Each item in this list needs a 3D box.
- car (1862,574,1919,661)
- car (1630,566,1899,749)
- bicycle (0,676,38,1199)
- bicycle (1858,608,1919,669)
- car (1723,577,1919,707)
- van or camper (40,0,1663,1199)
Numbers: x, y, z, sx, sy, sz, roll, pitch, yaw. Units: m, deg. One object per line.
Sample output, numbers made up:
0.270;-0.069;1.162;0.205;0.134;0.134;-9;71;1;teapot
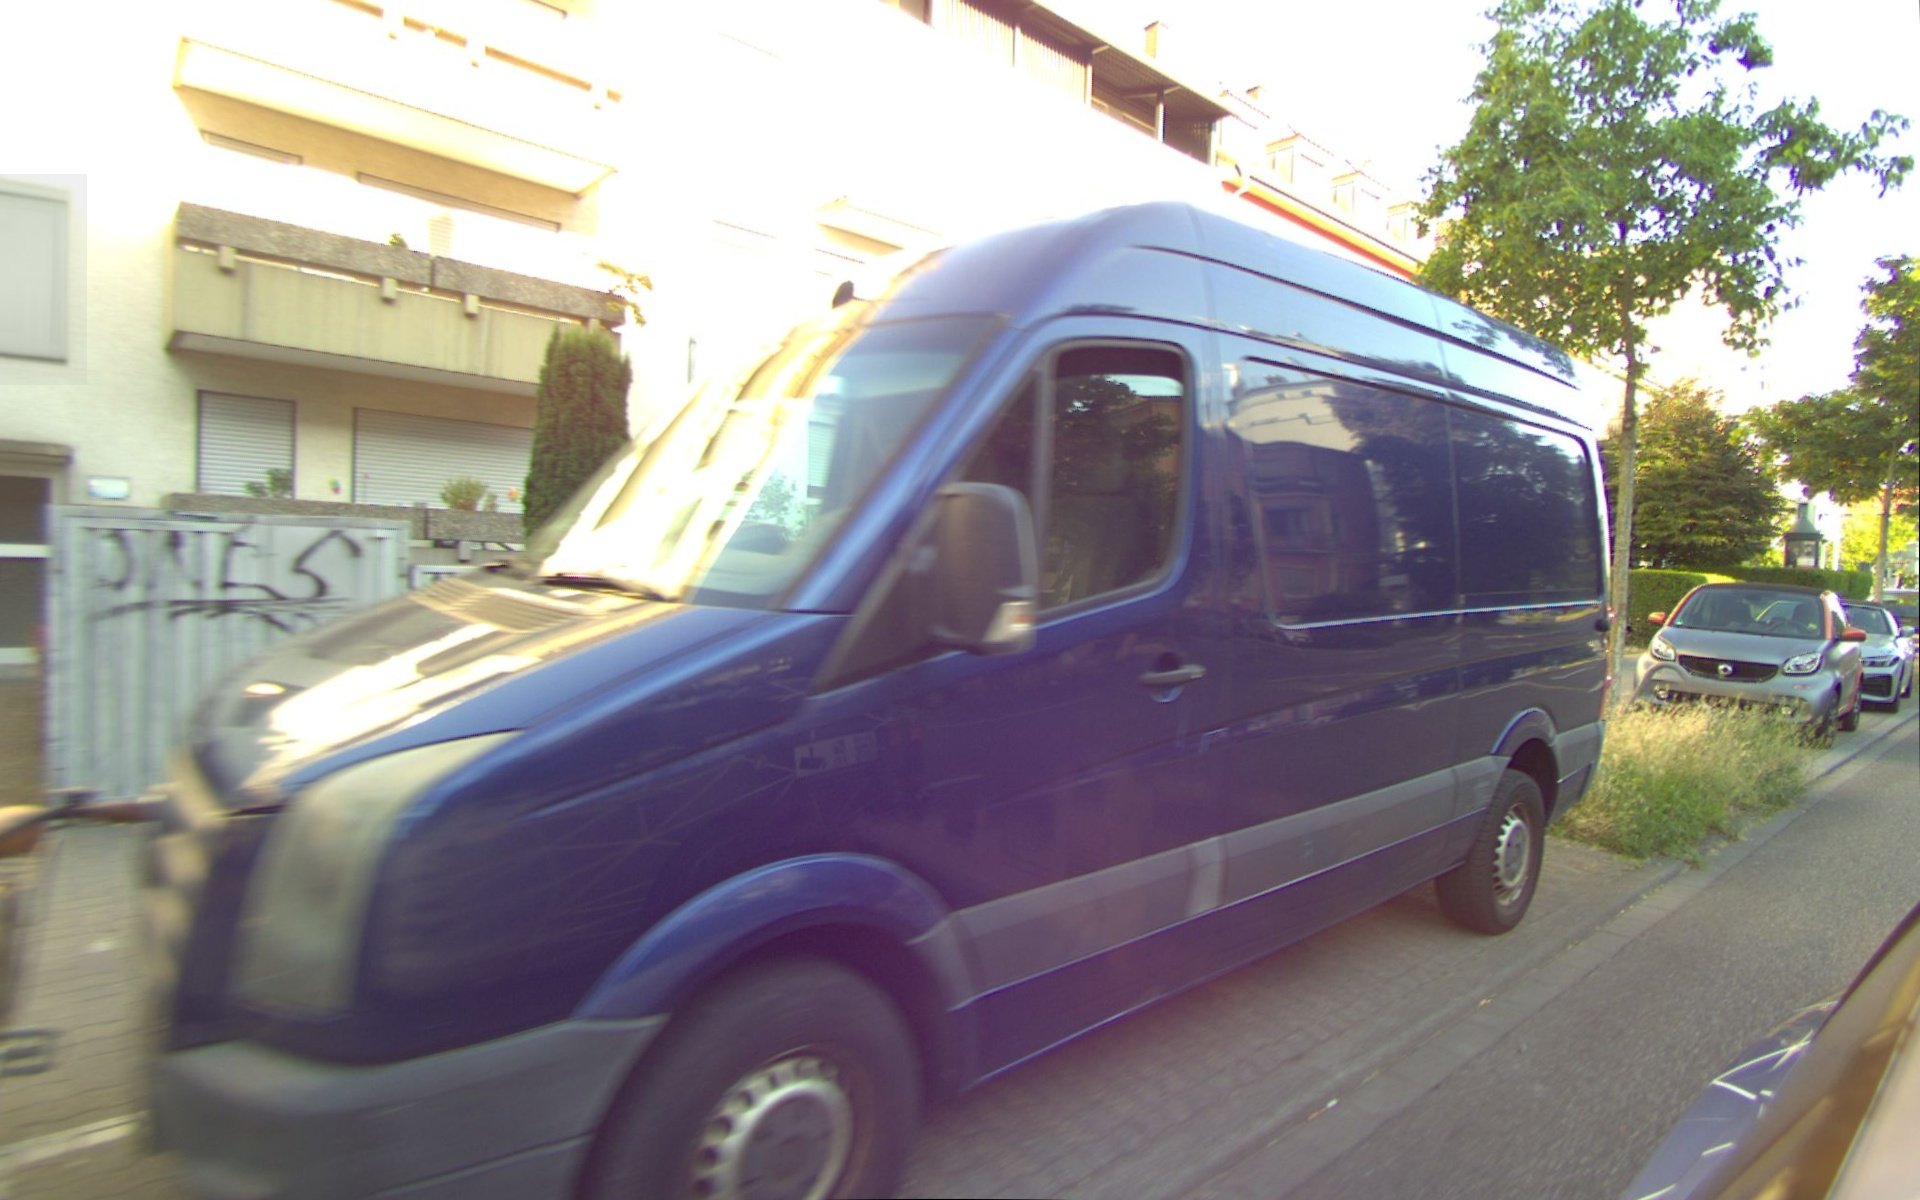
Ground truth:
20.313;0.371;21.067;4.216;1.671;1.736;1;2;-41;car
9.039;0.489;11.274;3.694;1.662;1.775;-1;3;-43;car
-2.059;0.786;1.846;0.397;1.102;1.707;1;2;-37;bicycle
17.459;0.718;18.508;1.473;1.072;0.406;3;2;37;bicycle
12.565;0.499;14.506;4.668;1.504;1.922;0;2;-45;car
0.534;-0.008;3.844;5.885;2.708;2.072;-1;3;-41;van or camper
